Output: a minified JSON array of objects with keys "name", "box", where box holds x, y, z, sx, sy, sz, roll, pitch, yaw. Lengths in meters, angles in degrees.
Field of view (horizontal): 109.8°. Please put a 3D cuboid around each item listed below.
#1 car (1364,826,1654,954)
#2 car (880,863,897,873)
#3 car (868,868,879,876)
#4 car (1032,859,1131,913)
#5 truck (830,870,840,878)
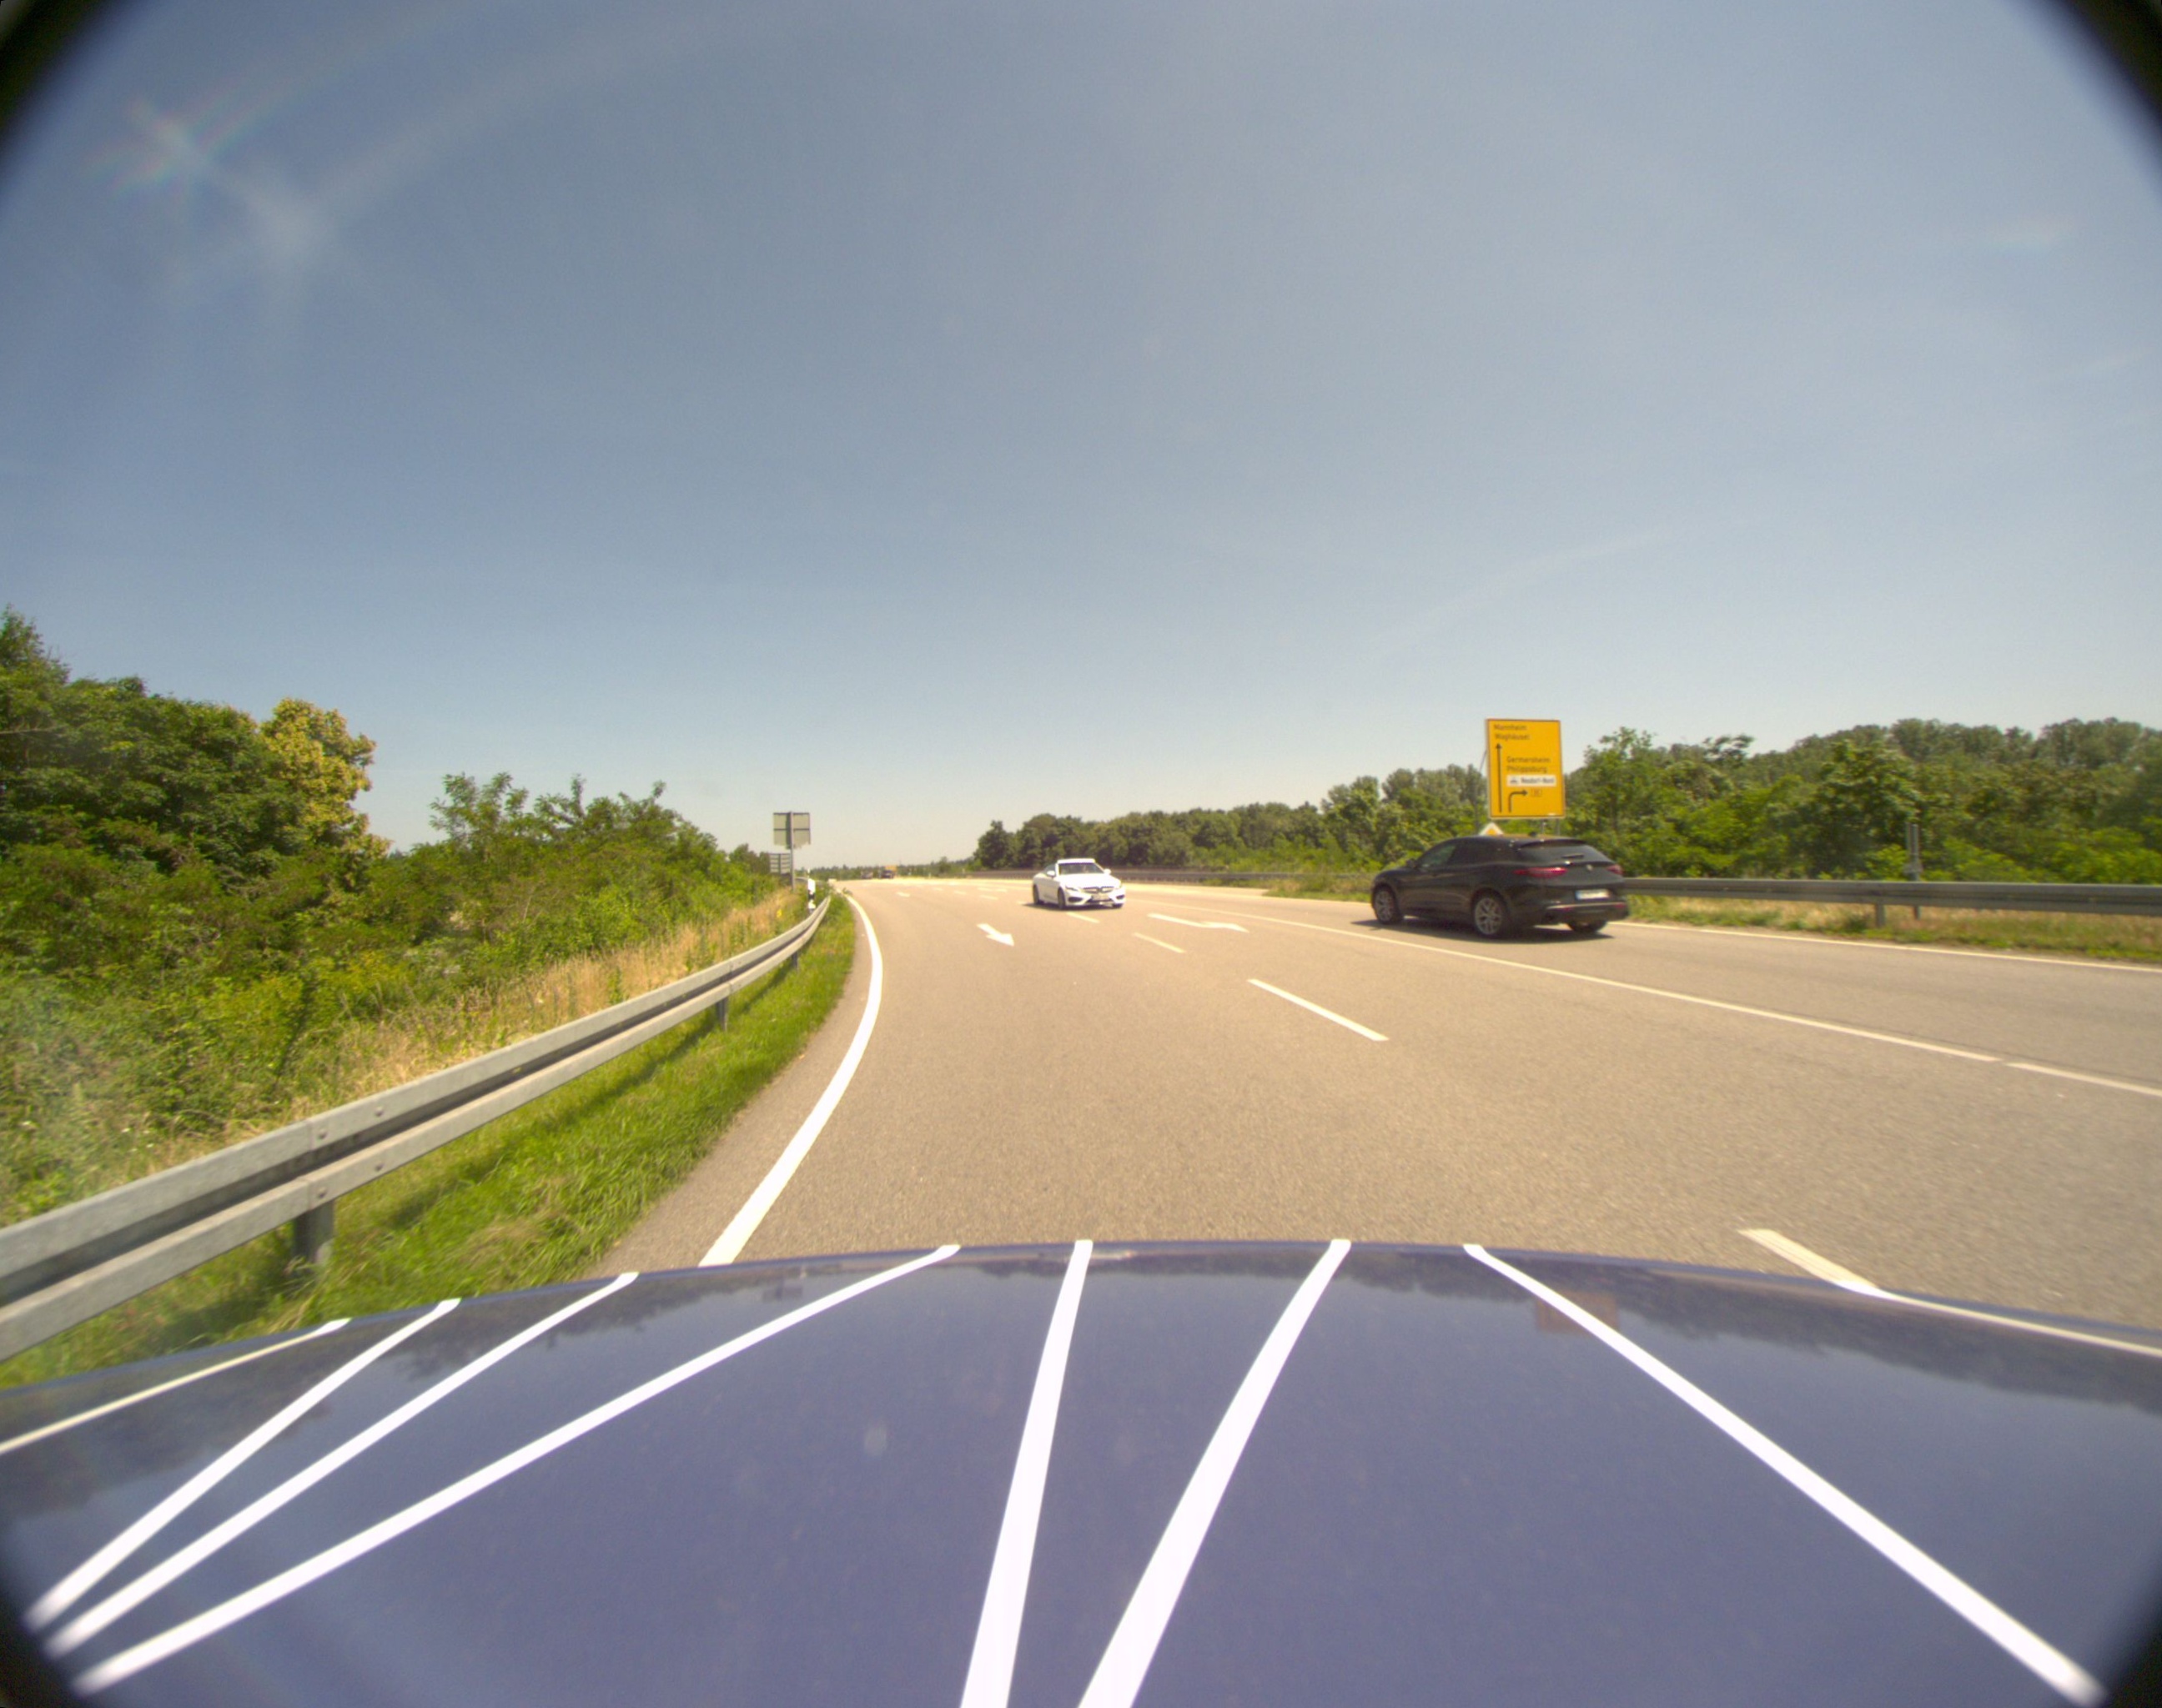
[{"name":"car","box":[6.853,0.523,12.885,1.717,1.648,4.564,-5,0,-9]},{"name":"car","box":[-27.751,1.980,109.252,1.742,1.392,4.373,0,-1,-22]},{"name":"car","box":[-38.944,3.426,142.598,1.731,1.444,4.787,0,-1,-20]},{"name":"car","box":[-0.087,0.901,22.798,1.815,1.407,4.105,-2,0,-17]},{"name":"truck","box":[-72.527,5.893,223.835,2.216,2.229,5.364,-1,-1,-22]}]
